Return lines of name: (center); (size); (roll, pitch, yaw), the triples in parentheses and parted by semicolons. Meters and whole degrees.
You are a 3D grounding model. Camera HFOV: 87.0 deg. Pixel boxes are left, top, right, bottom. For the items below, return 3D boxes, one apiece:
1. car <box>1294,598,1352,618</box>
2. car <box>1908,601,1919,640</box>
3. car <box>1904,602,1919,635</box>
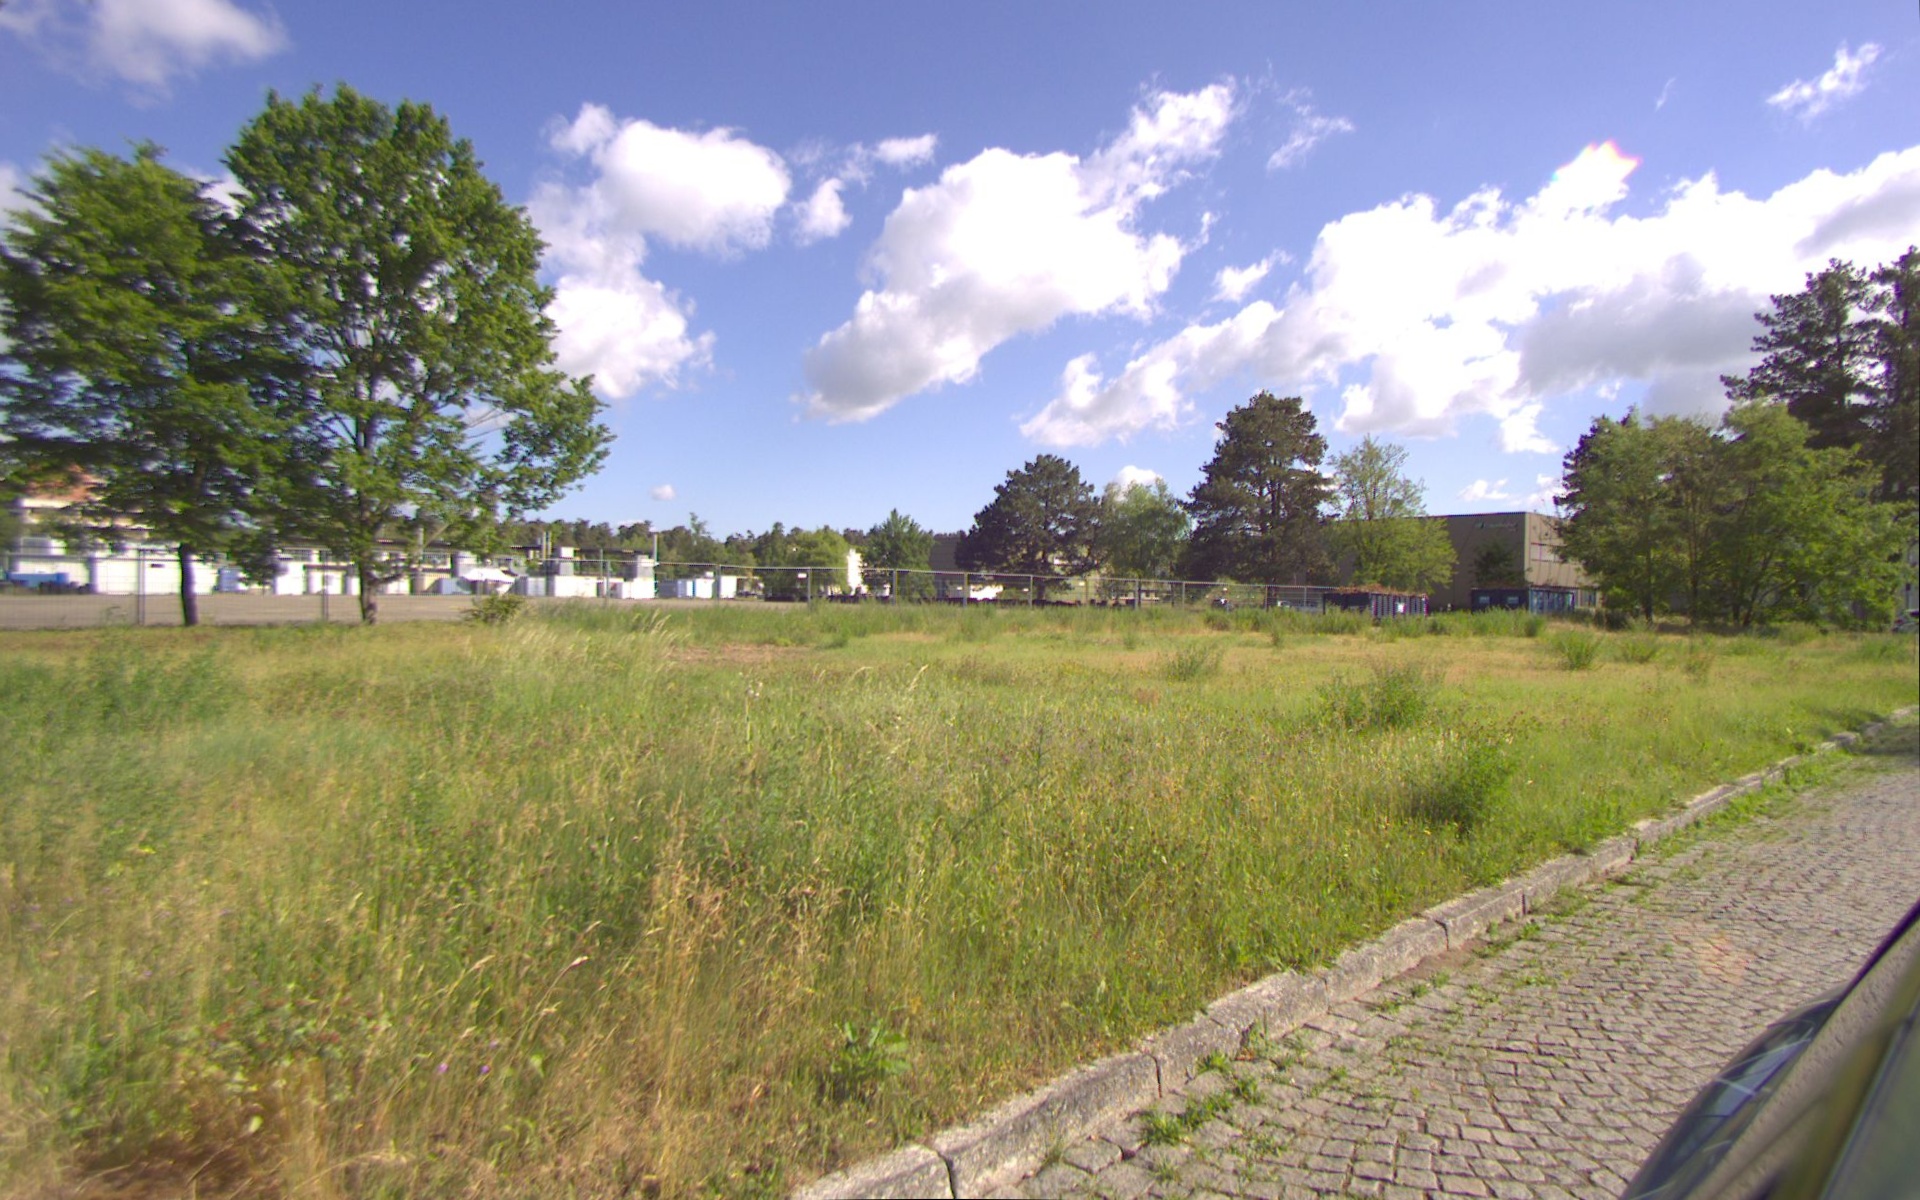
car: (28.646, 0.622, 79.996); (1.714, 1.440, 3.995); (3, -1, -40)
car: (39.516, 0.932, 39.288); (1.721, 1.494, 3.748); (1, 3, -41)
car: (45.063, 0.944, 44.872); (1.808, 1.482, 4.520); (0, 3, -42)
